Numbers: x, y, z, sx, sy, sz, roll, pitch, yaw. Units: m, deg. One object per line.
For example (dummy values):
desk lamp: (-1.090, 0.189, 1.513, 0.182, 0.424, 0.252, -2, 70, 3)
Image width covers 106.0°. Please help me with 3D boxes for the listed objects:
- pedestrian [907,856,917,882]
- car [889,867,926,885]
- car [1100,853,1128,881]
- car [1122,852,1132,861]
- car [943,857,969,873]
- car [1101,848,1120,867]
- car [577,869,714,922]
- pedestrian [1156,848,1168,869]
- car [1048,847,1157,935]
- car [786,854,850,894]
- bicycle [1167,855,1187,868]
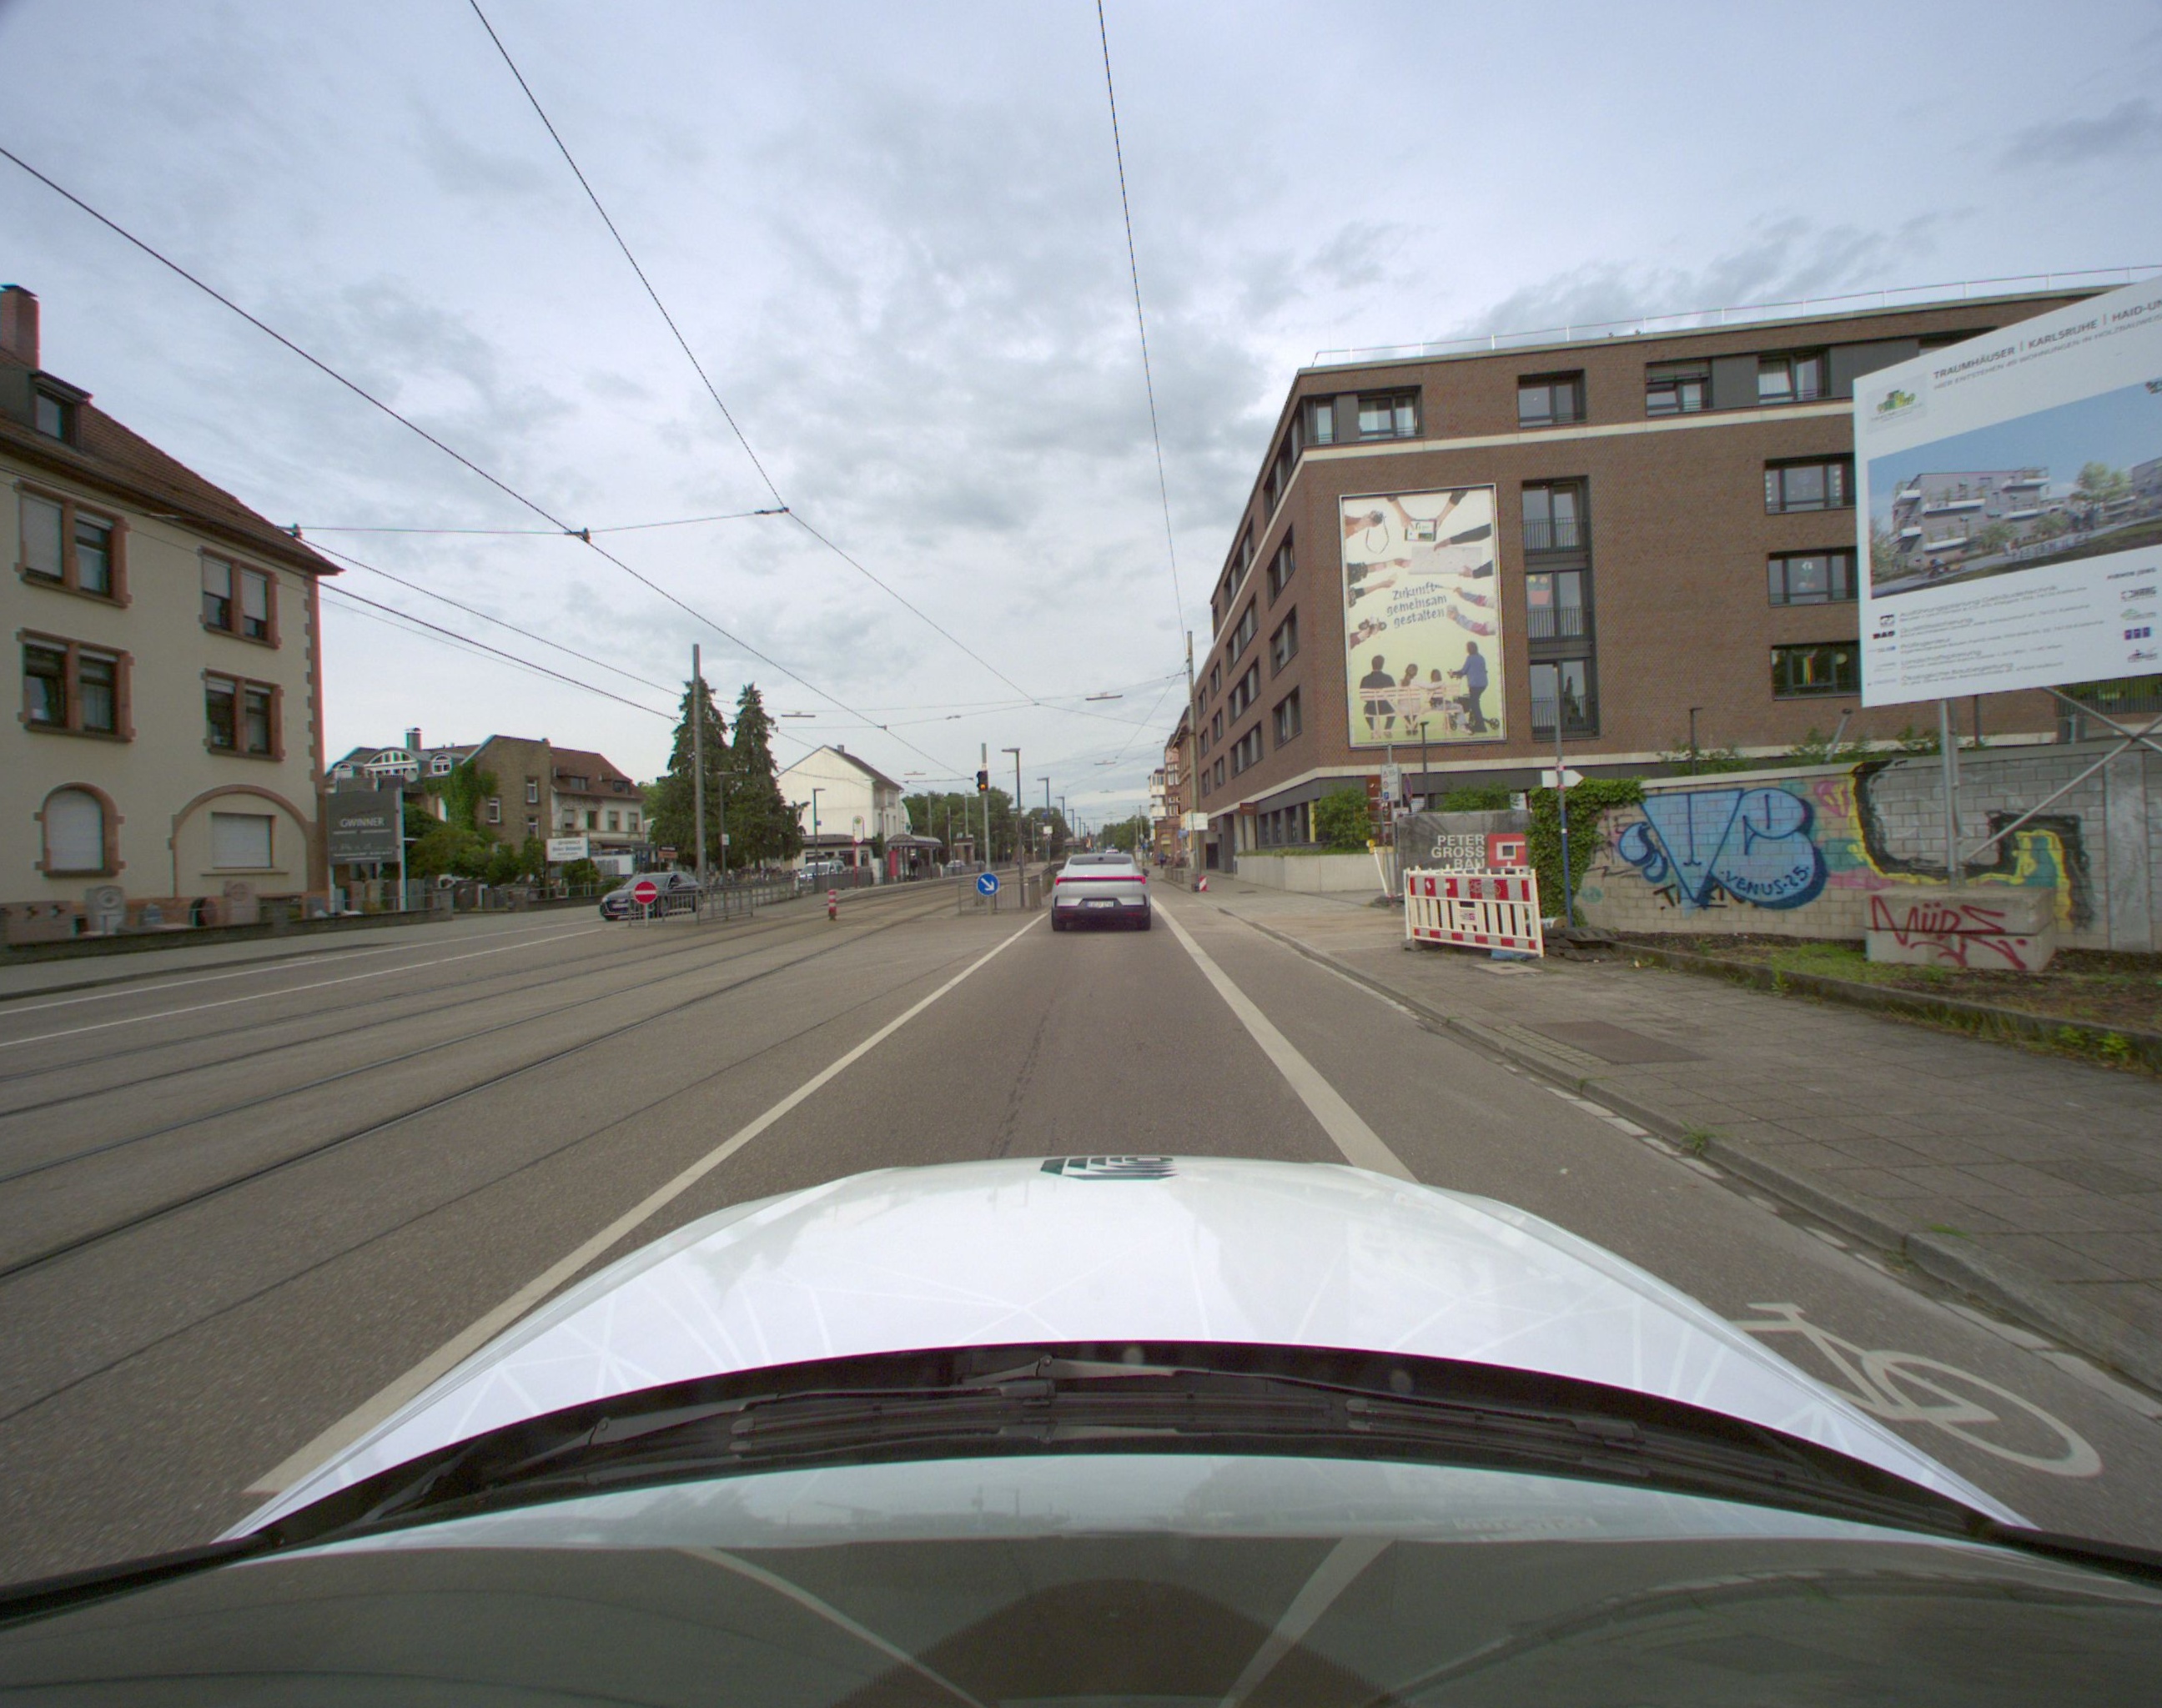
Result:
pedestrian: (-10.845, 0.972, 52.308, 0.615, 1.664, 0.694, -1, -1, -11)
car: (-13.537, 1.713, 63.705, 1.743, 1.299, 3.837, -3, -1, 4)
car: (2.100, 0.802, 51.349, 1.674, 1.687, 3.826, -1, -1, 2)
car: (13.423, 0.768, 236.240, 2.796, 2.505, 5.725, -1, -1, 2)
car: (-13.122, 1.112, 85.756, 1.857, 1.486, 4.001, -5, 0, 1)
car: (3.930, 0.456, 108.816, 2.220, 2.402, 5.120, -1, -1, -1)
car: (-14.068, 1.290, 26.650, 1.874, 1.428, 4.426, -3, 0, 2)
pedestrian: (7.659, 0.414, 77.102, 0.955, 1.850, 0.978, -4, 0, 8)
car: (0.329, 0.704, 16.985, 1.994, 1.581, 3.996, -1, -1, -2)
car: (-14.228, 1.031, 44.325, 1.878, 1.988, 4.525, -3, -1, 1)
bicycle: (9.060, 0.720, 76.978, 1.771, 1.129, 0.642, -5, 0, 1)
